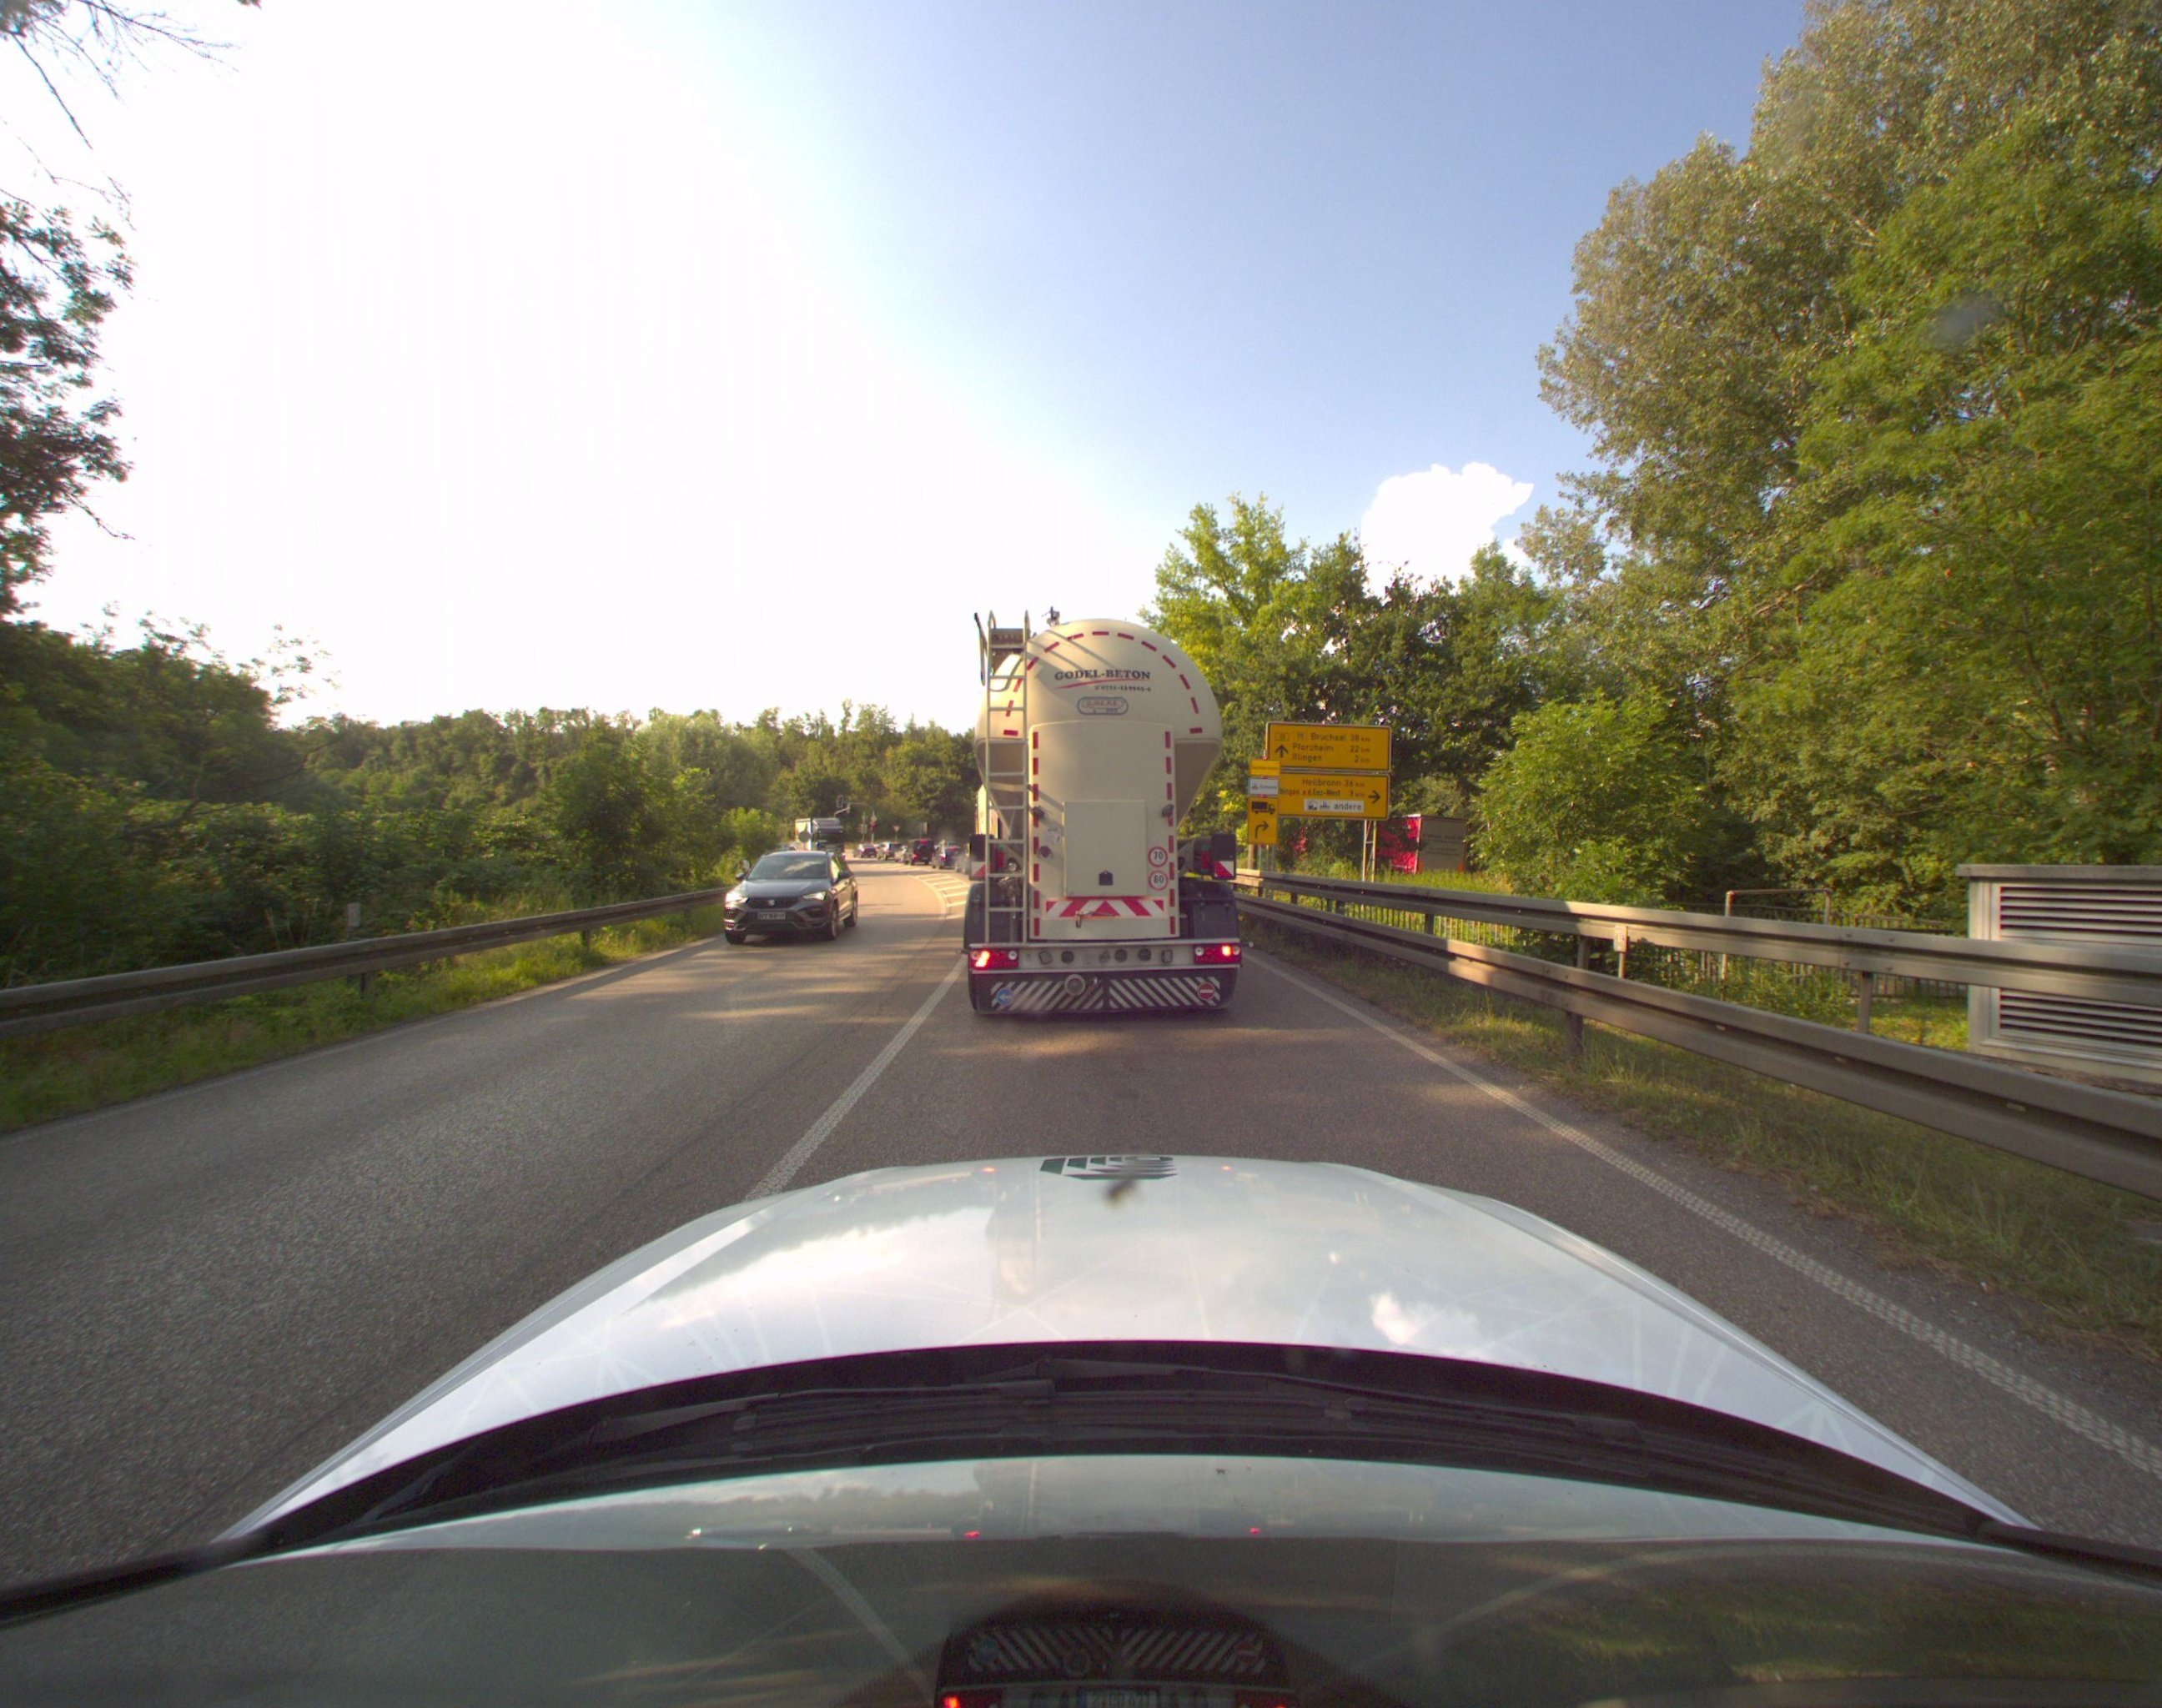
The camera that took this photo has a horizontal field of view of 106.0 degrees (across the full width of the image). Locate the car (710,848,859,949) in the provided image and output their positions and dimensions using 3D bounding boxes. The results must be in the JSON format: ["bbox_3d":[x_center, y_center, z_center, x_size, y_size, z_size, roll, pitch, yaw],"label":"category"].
[{"bbox_3d":[-5.367,0.705,15.266,1.867,1.564,3.987,-1,1,-9],"label":"car"}]

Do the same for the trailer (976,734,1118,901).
[{"bbox_3d":[-1.719,-0.969,28.759,3.545,4.513,12.943,0,0,-9],"label":"trailer"}]

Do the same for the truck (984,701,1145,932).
[{"bbox_3d":[-0.513,-0.669,17.300,2.819,4.035,5.884,0,0,-5],"label":"truck"}]

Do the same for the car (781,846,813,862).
[{"bbox_3d":[-34.463,-0.031,98.979,1.856,1.851,4.010,1,0,9],"label":"car"}]

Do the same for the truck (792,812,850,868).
[{"bbox_3d":[-23.044,-1.166,71.691,3.030,4.585,10.147,0,0,-28],"label":"truck"}]

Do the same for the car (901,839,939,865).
[{"bbox_3d":[-12.460,-0.188,62.919,1.966,1.851,3.968,-2,1,-24],"label":"car"}]

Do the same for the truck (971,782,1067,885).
[{"bbox_3d":[-2.881,-0.786,35.729,3.452,4.086,6.466,0,0,-11],"label":"truck"}]

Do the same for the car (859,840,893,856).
[{"bbox_3d":[-27.993,-0.841,111.047,4.019,2.013,1.978,1,0,-38],"label":"car"}]

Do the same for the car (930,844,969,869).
[{"bbox_3d":[-8.741,0.142,54.076,1.873,1.564,3.974,-2,1,-19],"label":"car"}]

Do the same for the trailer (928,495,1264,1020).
[{"bbox_3d":[-0.151,-0.834,11.812,2.881,4.454,9.592,0,0,-4],"label":"trailer"}]

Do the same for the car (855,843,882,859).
[{"bbox_3d":[-21.835,-0.347,83.572,1.878,1.565,3.965,1,0,-27],"label":"car"}]

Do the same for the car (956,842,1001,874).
[{"bbox_3d":[-5.825,0.185,45.930,1.872,1.628,3.978,-2,1,-16],"label":"car"}]

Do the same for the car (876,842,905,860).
[{"bbox_3d":[-17.808,-0.309,76.025,1.876,1.595,3.968,2,0,-25],"label":"car"}]

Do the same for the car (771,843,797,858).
[{"bbox_3d":[-32.917,-0.379,90.322,1.866,1.556,3.990,1,0,-7],"label":"car"}]

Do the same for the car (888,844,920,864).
[{"bbox_3d":[-15.485,-0.004,71.027,1.877,1.683,3.967,1,0,-25],"label":"car"}]
